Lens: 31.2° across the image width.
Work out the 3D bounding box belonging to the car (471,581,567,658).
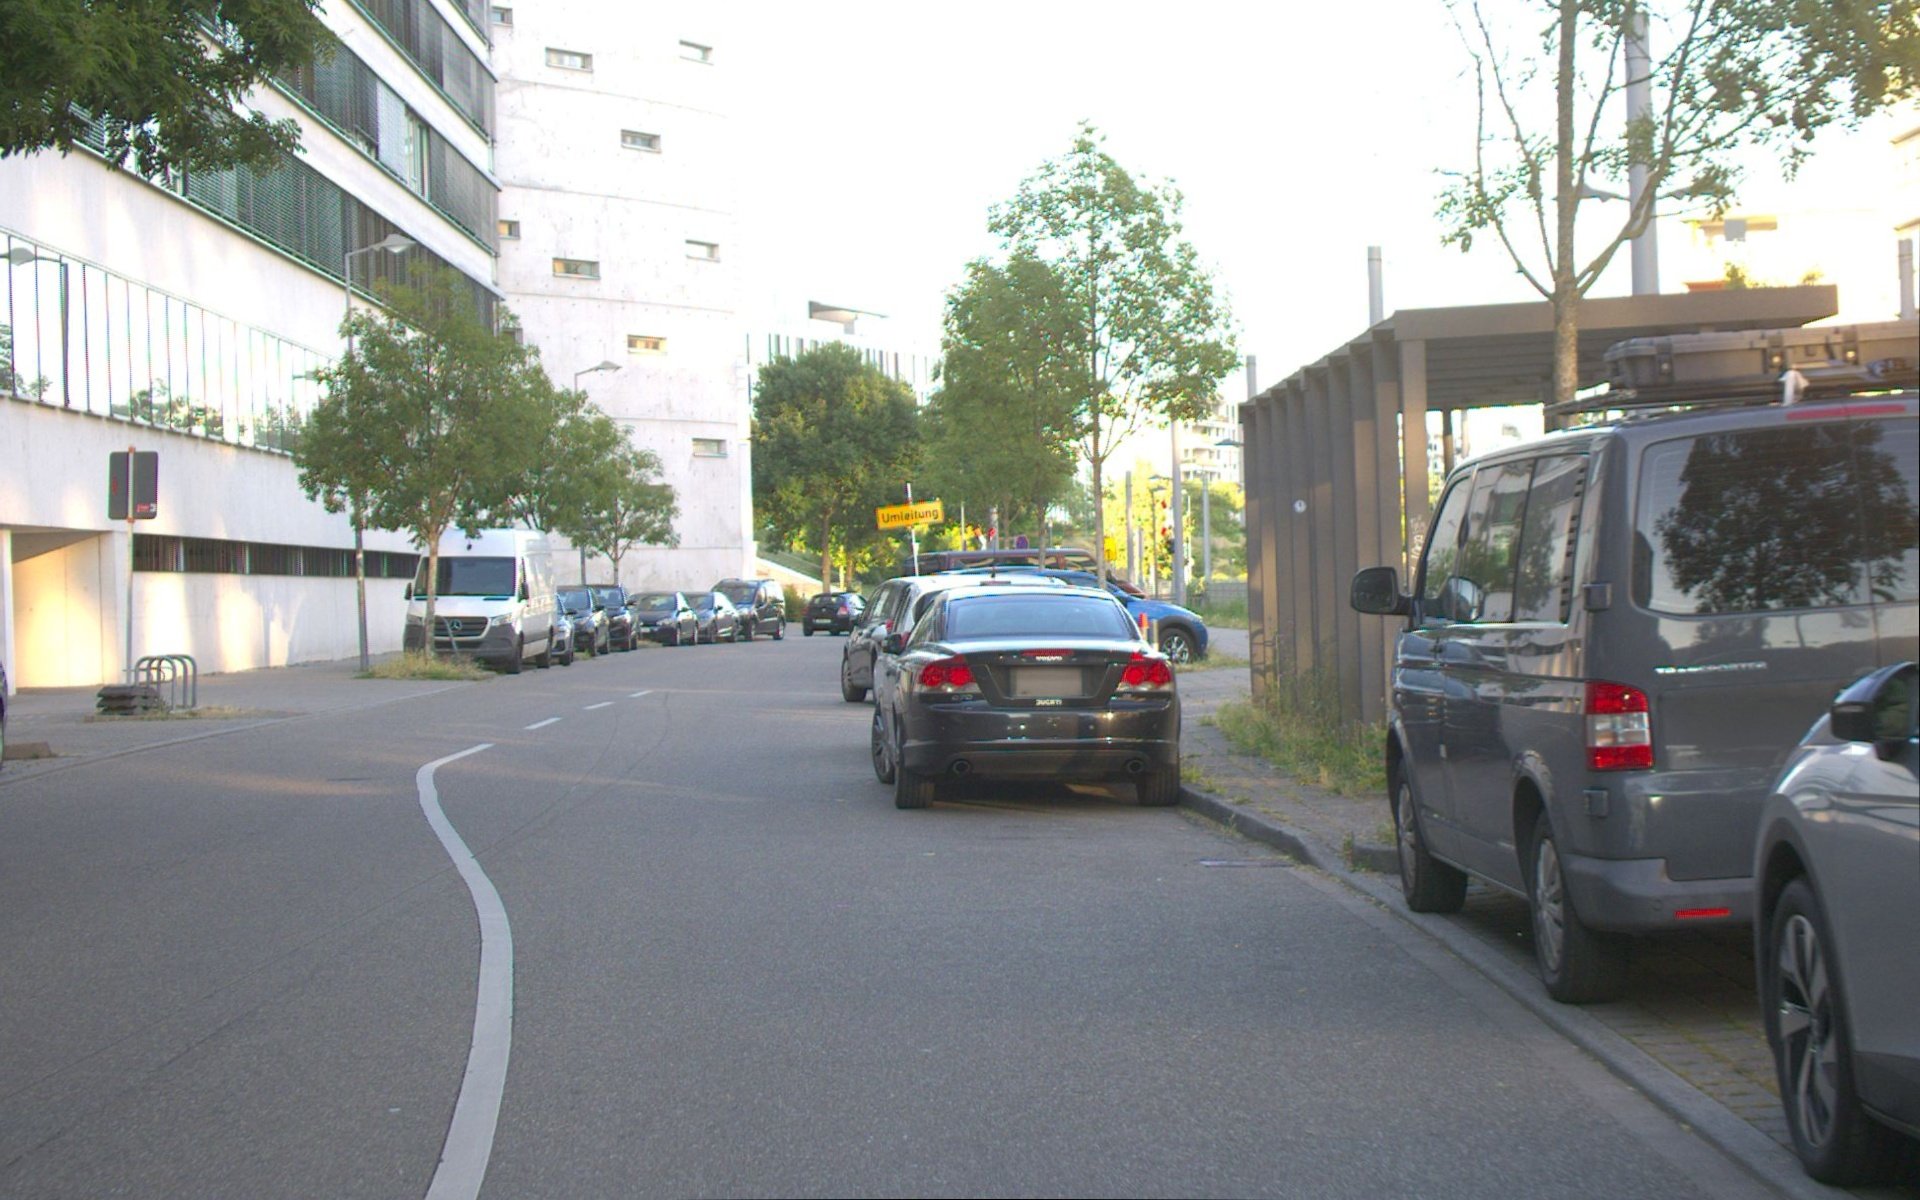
[{"bbox_3d":[-8.720,0.370,68.184,1.755,1.435,3.902,1,1,-5],"label":"car"}]

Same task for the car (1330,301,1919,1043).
[{"bbox_3d":[2.644,0.186,12.697,1.804,2.169,4.736,-3,0,-2],"label":"car"}]

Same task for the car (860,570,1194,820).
[{"bbox_3d":[0.334,0.541,22.685,1.787,1.447,4.516,-1,1,-4],"label":"car"}]

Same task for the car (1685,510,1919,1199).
[{"bbox_3d":[2.717,0.570,6.465,1.707,1.575,4.479,-3,0,0],"label":"car"}]

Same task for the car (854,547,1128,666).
[{"bbox_3d":[0.566,0.098,60.672,4.589,2.028,1.871,0,1,-34],"label":"car"}]

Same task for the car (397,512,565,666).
[{"bbox_3d":[-8.548,-0.222,61.927,1.958,2.608,6.892,1,1,1],"label":"car"}]

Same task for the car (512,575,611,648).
[{"bbox_3d":[-8.894,0.247,76.982,1.756,1.555,4.043,1,1,0],"label":"car"}]

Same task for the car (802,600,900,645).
[{"bbox_3d":[-3.533,0.734,112.385,1.945,1.378,4.396,1,1,16],"label":"car"}]

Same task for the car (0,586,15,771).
[{"bbox_3d":[-8.234,0.643,25.237,1.714,1.447,4.400,-1,1,-5],"label":"car"}]

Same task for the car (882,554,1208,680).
[{"bbox_3d":[1.164,0.224,46.460,3.988,1.515,1.927,-2,-1,-36],"label":"car"}]

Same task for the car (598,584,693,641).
[{"bbox_3d":[-8.349,0.308,91.557,1.723,1.452,4.270,1,1,6],"label":"car"}]

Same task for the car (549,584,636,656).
[{"bbox_3d":[-8.890,0.468,83.383,1.756,1.648,3.949,1,1,-1],"label":"car"}]

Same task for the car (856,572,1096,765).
[{"bbox_3d":[0.064,0.515,28.499,1.676,1.447,4.188,-1,0,-4],"label":"car"}]

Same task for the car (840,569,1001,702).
[{"bbox_3d":[-0.509,0.410,40.264,1.731,1.461,4.000,1,0,-3],"label":"car"}]
